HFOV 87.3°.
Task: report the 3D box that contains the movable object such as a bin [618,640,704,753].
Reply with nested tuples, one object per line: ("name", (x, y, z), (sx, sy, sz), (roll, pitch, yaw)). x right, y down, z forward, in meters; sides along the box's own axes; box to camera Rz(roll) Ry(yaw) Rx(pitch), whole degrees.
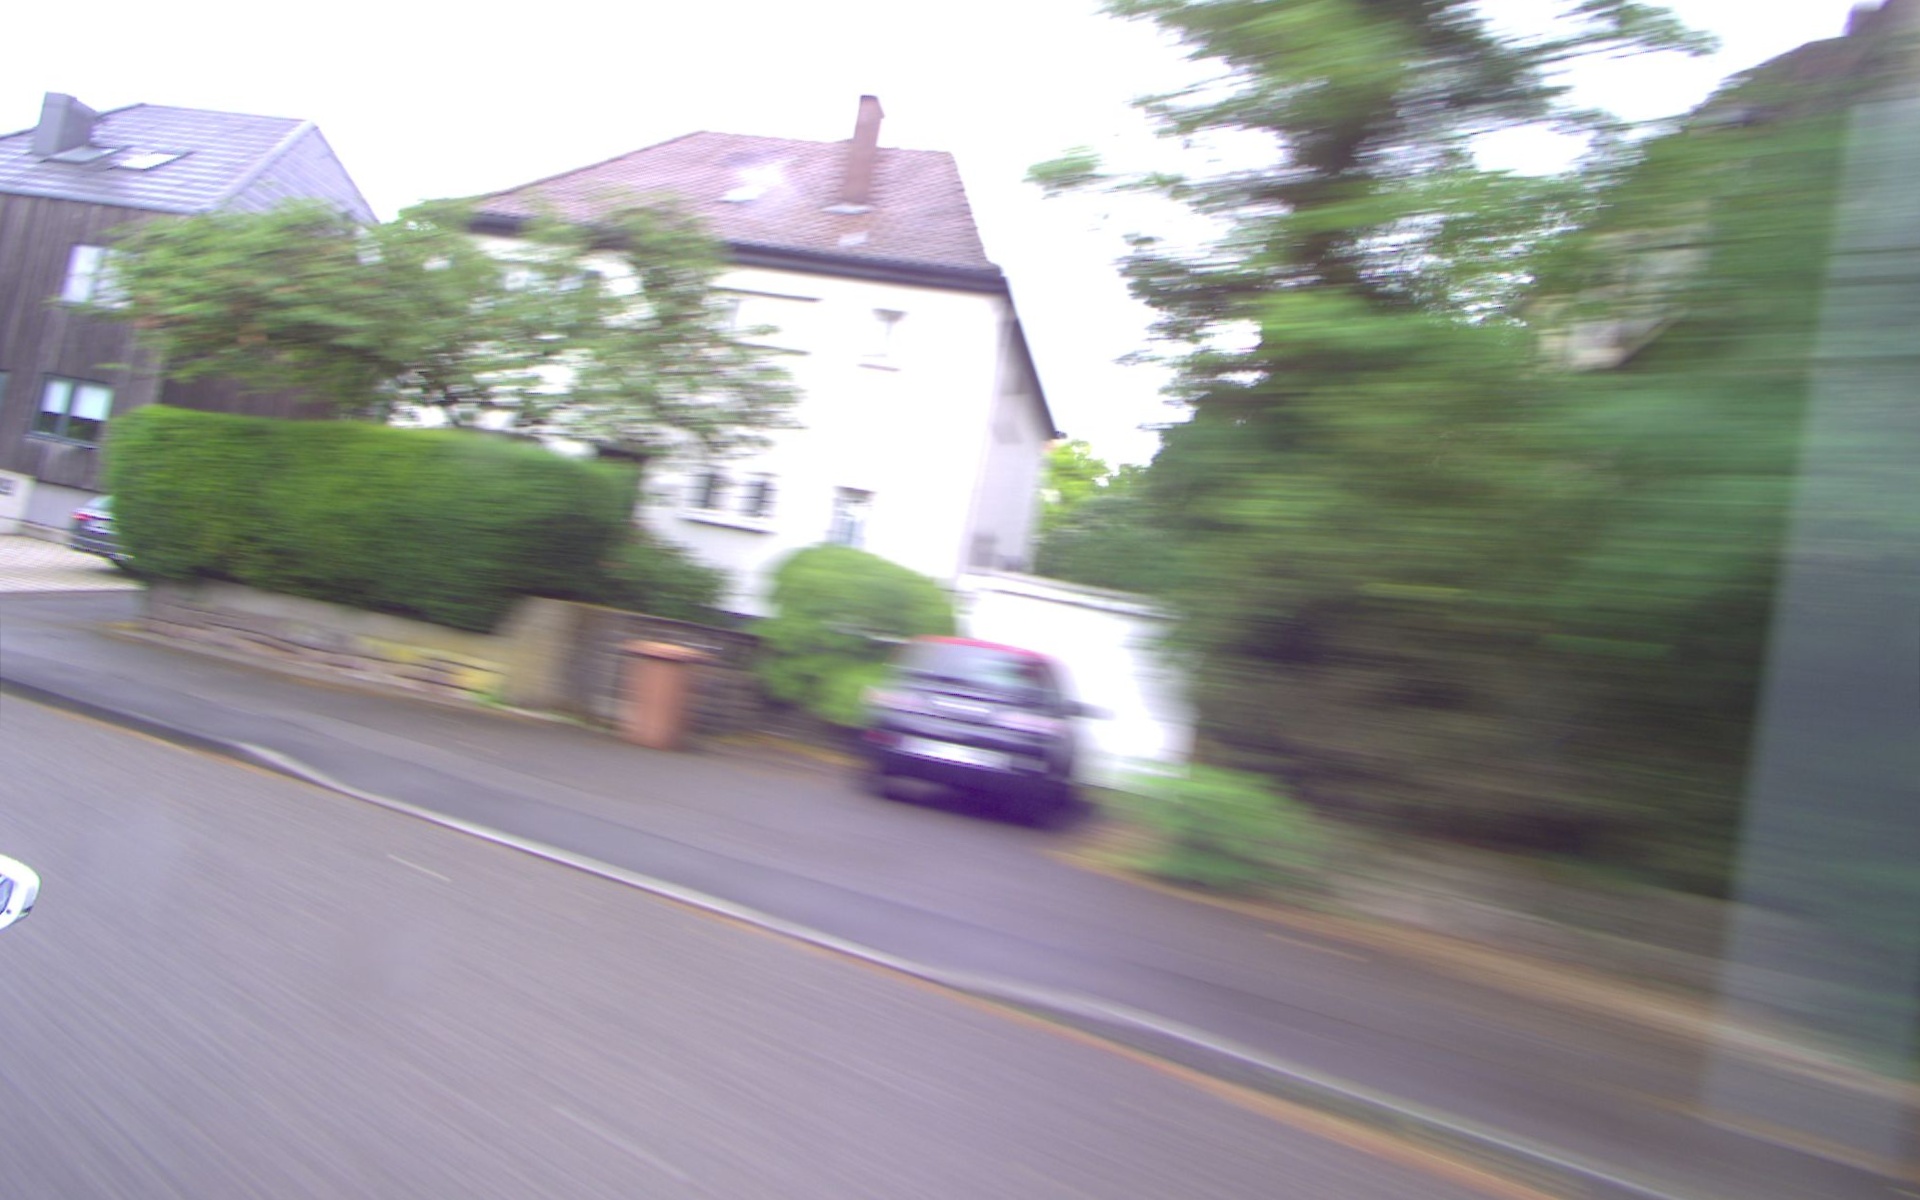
("movable object such as a bin", (-2.671, 0.861, 9.002), (0.454, 0.930, 0.420), (8, -2, 21))

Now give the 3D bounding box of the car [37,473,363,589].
("car", (-13.700, -1.158, 18.556), (1.775, 1.549, 4.572), (9, 2, 14))

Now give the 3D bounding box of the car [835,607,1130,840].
("car", (0.472, 1.178, 9.780), (1.739, 1.511, 4.011), (9, -4, 16))
